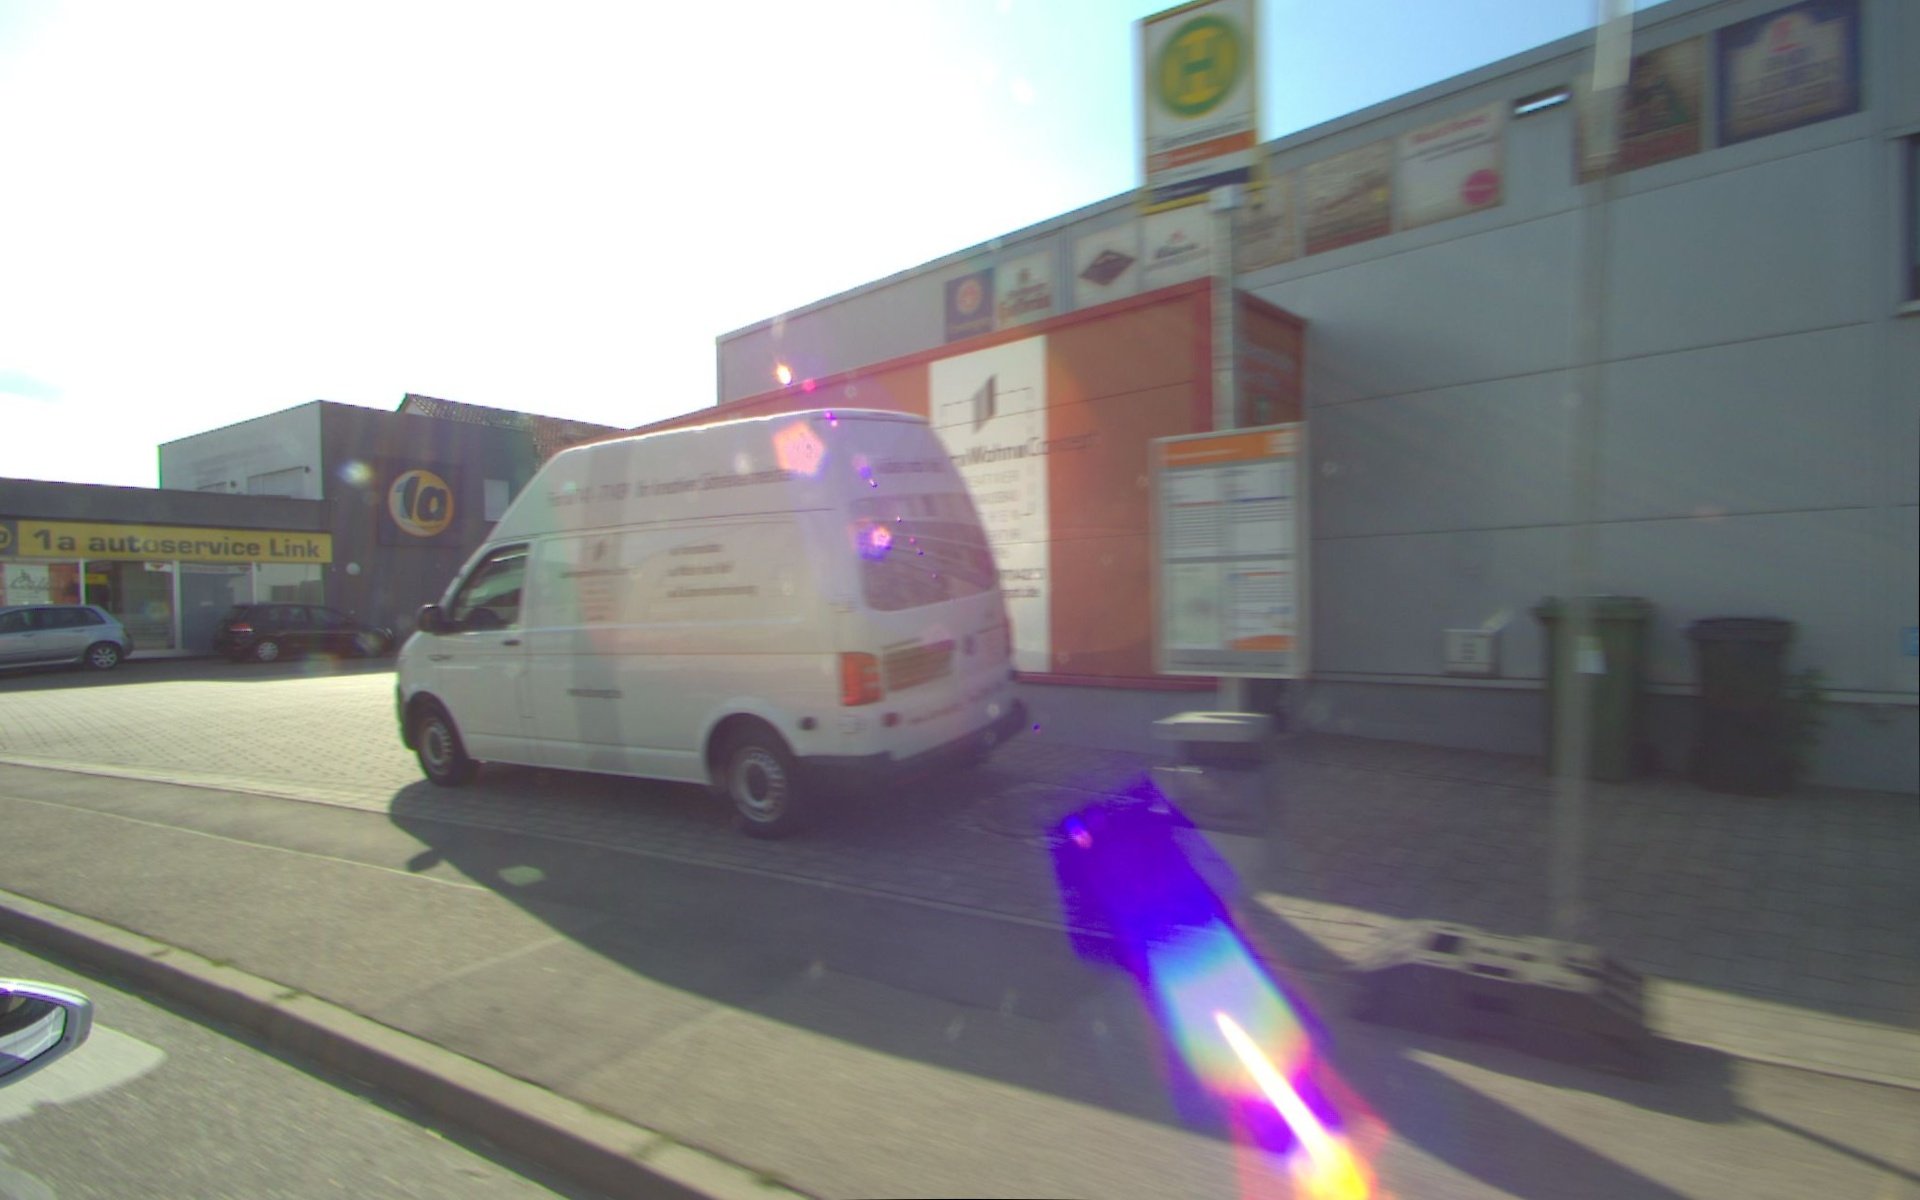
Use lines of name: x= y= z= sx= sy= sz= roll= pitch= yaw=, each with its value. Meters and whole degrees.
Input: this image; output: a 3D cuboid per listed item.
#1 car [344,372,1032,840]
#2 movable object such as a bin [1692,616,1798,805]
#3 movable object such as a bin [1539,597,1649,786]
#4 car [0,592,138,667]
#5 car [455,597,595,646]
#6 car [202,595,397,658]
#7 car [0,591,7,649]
car: x=-2.174 y=0.065 z=7.297 sx=5.104 sy=2.406 sz=1.832 roll=-1 pitch=1 yaw=32
movable object such as a bin: x=4.310 y=0.579 z=5.501 sx=0.426 sy=0.979 sz=0.426 roll=0 pitch=1 yaw=43
movable object such as a bin: x=3.749 y=0.516 z=5.921 sx=0.484 sy=1.056 sz=0.426 roll=0 pitch=1 yaw=43
car: x=-20.463 y=0.630 z=21.567 sx=1.504 sy=1.552 sz=3.982 roll=-1 pitch=0 yaw=28
car: x=-13.865 y=0.647 z=32.107 sx=1.691 sy=1.427 sz=3.897 roll=1 pitch=1 yaw=31
car: x=-17.113 y=0.627 z=26.123 sx=1.691 sy=1.488 sz=3.897 roll=1 pitch=1 yaw=31
car: x=-28.642 y=0.640 z=27.316 sx=1.645 sy=1.697 sz=4.074 roll=-2 pitch=2 yaw=-7
